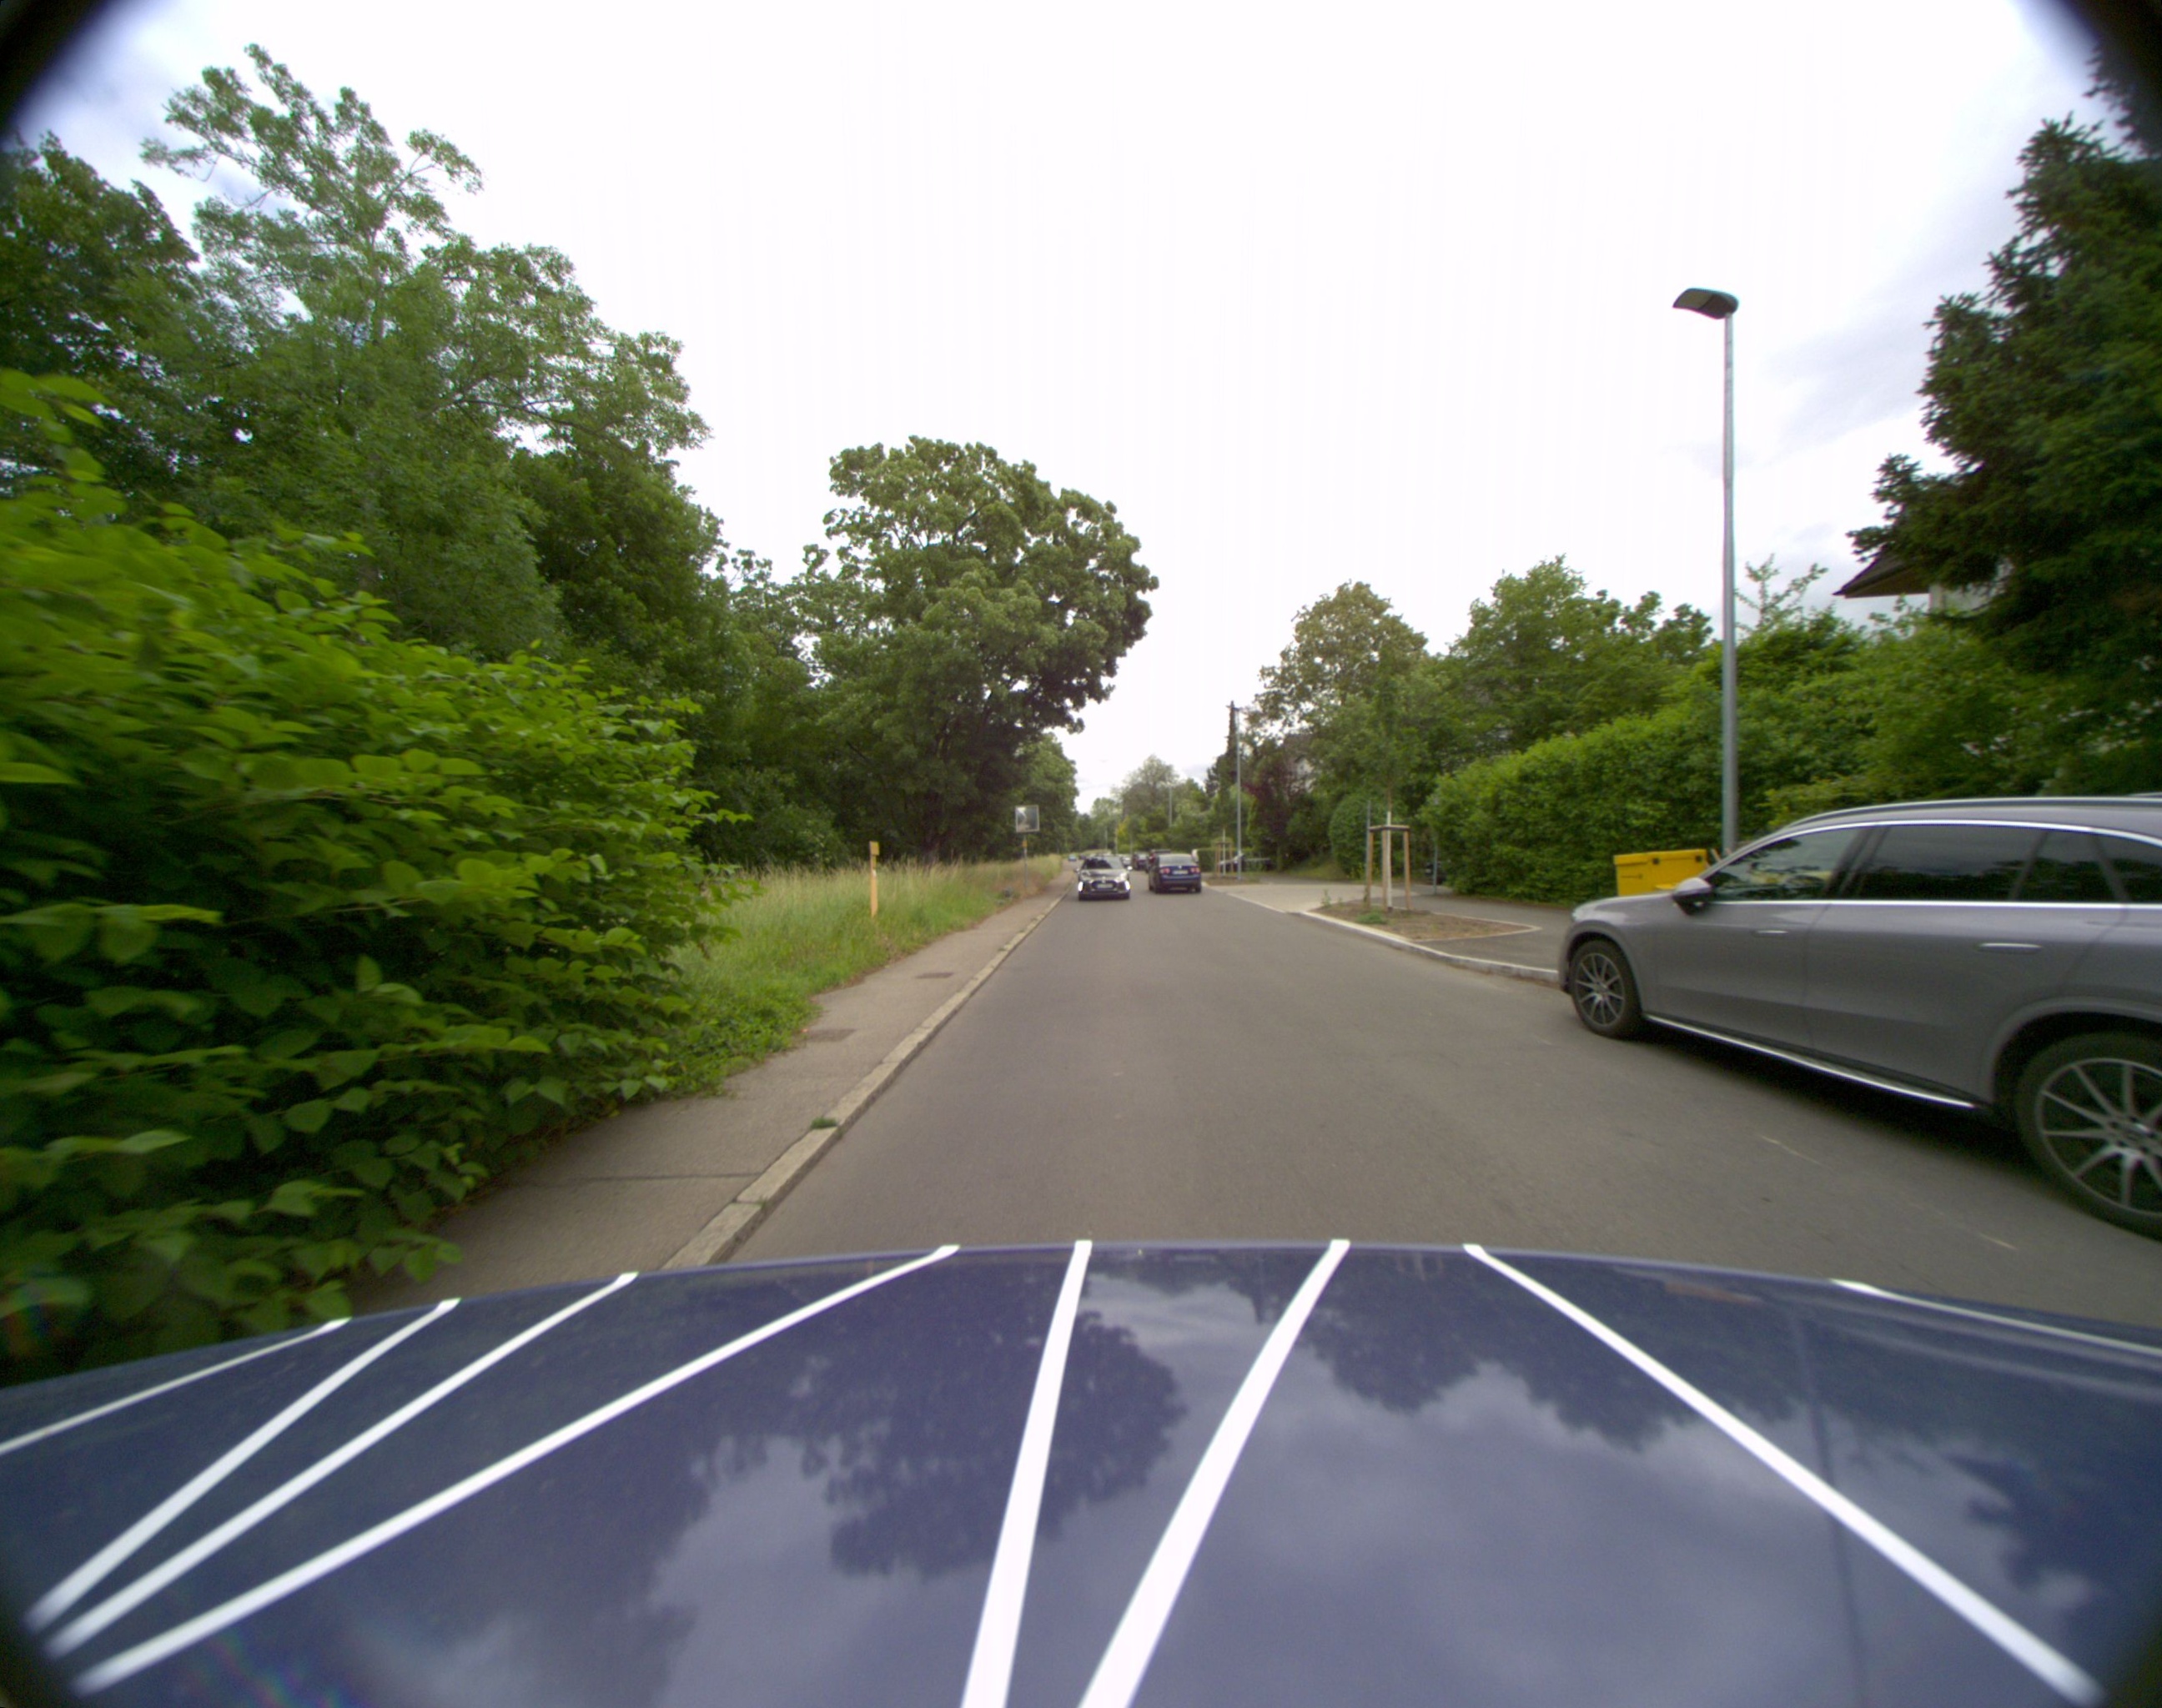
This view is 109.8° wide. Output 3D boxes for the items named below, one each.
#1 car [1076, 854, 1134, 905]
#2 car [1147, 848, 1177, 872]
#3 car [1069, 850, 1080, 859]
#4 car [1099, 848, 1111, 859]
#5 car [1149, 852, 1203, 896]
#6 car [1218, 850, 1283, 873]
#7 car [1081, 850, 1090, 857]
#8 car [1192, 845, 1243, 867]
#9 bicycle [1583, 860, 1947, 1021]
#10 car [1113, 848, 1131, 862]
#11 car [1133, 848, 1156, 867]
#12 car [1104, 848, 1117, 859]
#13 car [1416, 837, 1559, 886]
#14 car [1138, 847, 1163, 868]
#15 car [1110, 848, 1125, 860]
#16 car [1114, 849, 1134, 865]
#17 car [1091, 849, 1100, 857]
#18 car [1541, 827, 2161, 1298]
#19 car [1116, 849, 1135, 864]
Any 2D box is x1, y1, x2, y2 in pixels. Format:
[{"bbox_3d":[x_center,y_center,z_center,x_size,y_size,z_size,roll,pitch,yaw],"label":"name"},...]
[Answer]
[{"bbox_3d":[0.841,0.783,25.230,1.711,1.466,4.195,-2,0,3],"label":"car"},{"bbox_3d":[5.821,0.401,55.116,1.922,1.670,4.195,-2,0,3],"label":"car"},{"bbox_3d":[-1.332,0.091,151.029,1.922,1.670,4.194,-2,0,-2],"label":"car"},{"bbox_3d":[4.056,-0.110,130.693,1.922,1.670,4.194,-2,0,0],"label":"car"},{"bbox_3d":[3.567,0.706,29.071,1.711,1.466,4.195,-2,0,3],"label":"car"},{"bbox_3d":[10.607,0.478,47.780,3.773,1.306,1.641,-2,1,3],"label":"car"},{"bbox_3d":[1.059,-0.176,176.960,1.922,1.670,4.194,-2,0,0],"label":"car"},{"bbox_3d":[10.477,0.154,58.378,3.772,1.581,1.641,-2,1,8],"label":"car"},{"bbox_3d":[6.391,0.705,7.459,1.155,1.222,2.719,-2,1,1],"label":"bicycle"},{"bbox_3d":[5.068,0.151,94.561,1.922,1.670,4.194,-2,0,0],"label":"car"},{"bbox_3d":[5.968,0.267,71.730,1.922,1.670,4.195,-2,0,3],"label":"car"},{"bbox_3d":[4.667,-0.115,121.332,1.922,1.670,4.194,-2,0,0],"label":"car"},{"bbox_3d":[14.403,0.253,27.061,4.129,1.549,1.683,-2,1,3],"label":"car"},{"bbox_3d":[5.965,0.308,65.896,1.922,1.670,4.195,-2,0,3],"label":"car"},{"bbox_3d":[5.497,0.026,114.100,1.922,1.670,4.194,-2,0,0],"label":"car"},{"bbox_3d":[4.781,0.291,84.156,1.922,1.670,4.194,-2,0,0],"label":"car"},{"bbox_3d":[3.438,-0.262,182.438,1.922,1.670,4.194,-2,0,0],"label":"car"},{"bbox_3d":[4.650,0.693,3.908,1.800,1.598,4.730,-2,0,2],"label":"car"},{"bbox_3d":[5.222,0.243,89.852,1.922,1.670,4.194,-2,0,0],"label":"car"}]
